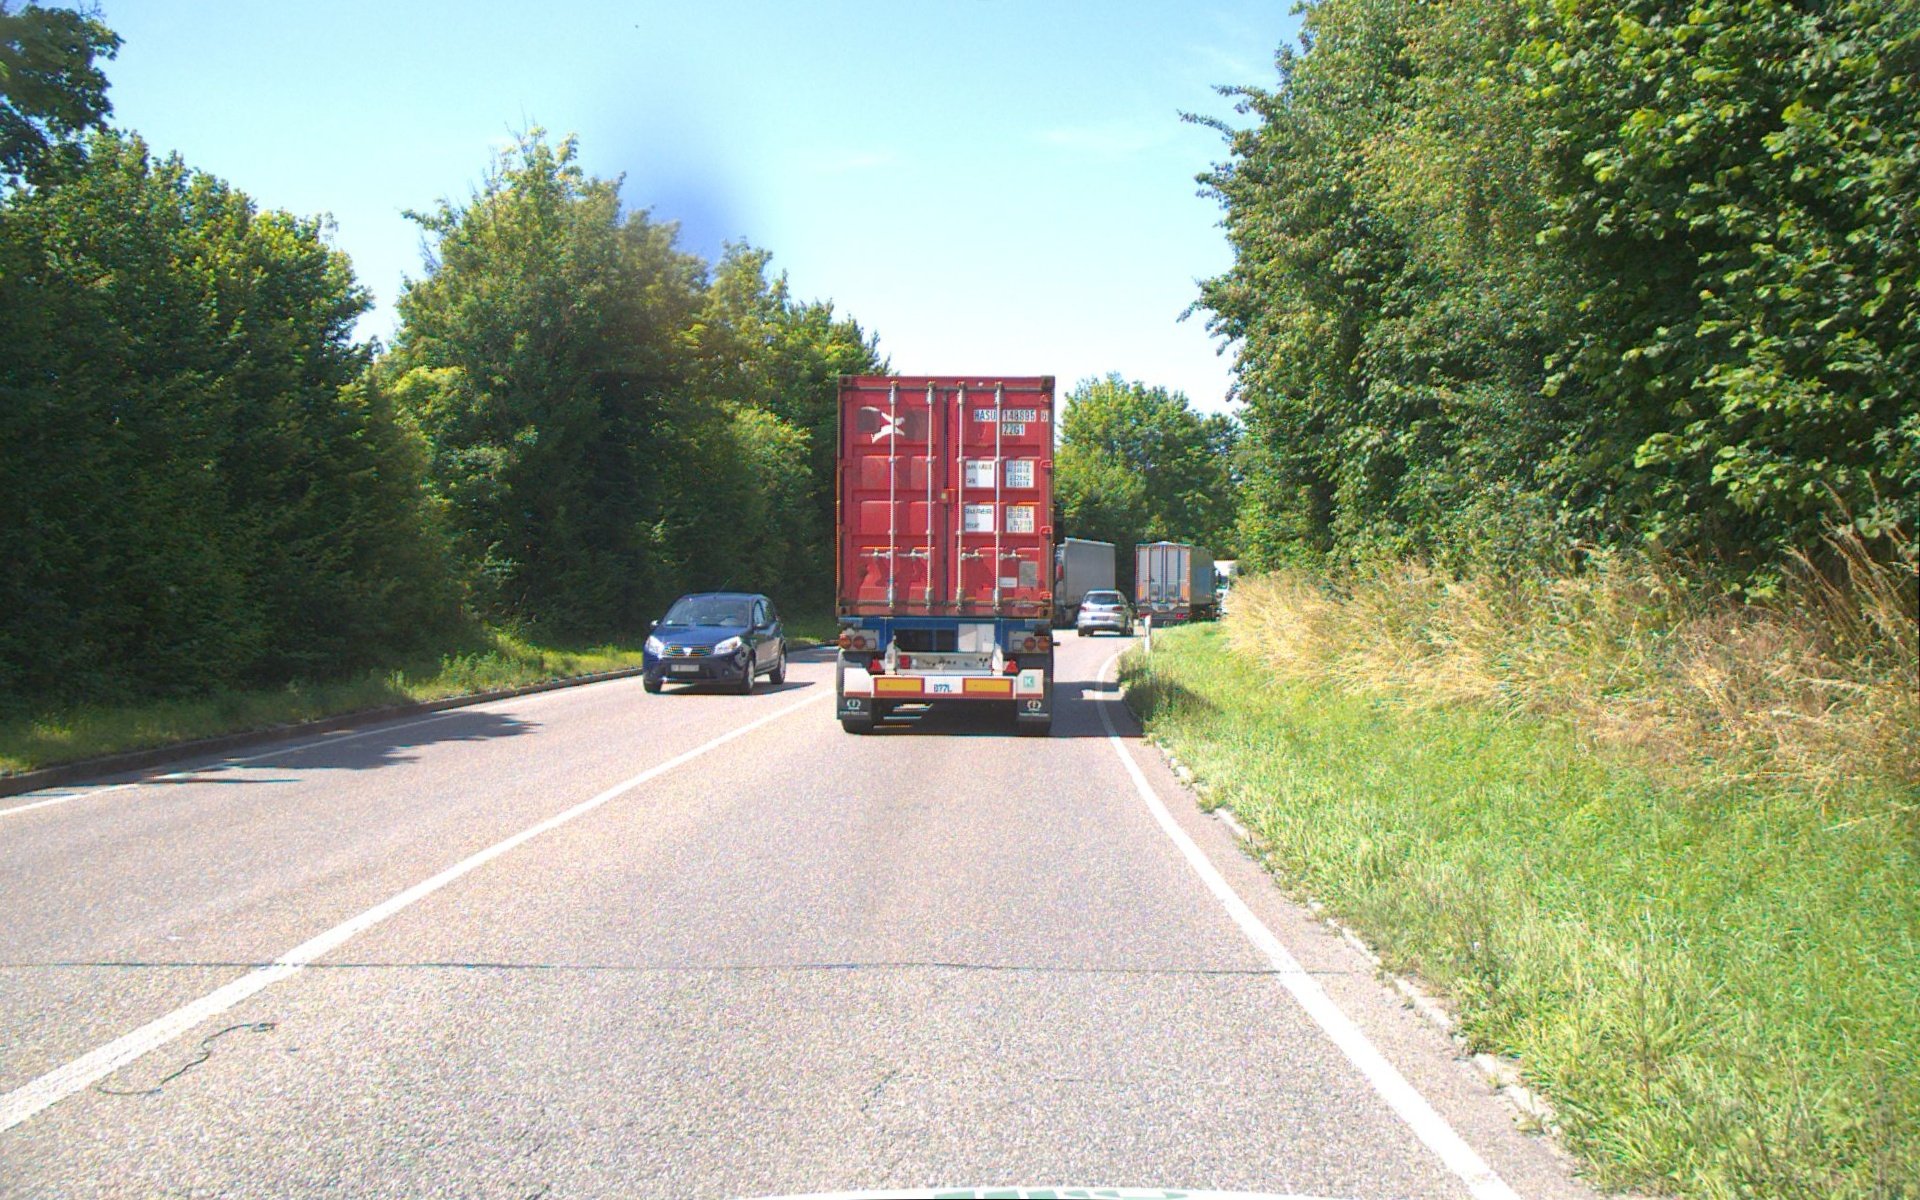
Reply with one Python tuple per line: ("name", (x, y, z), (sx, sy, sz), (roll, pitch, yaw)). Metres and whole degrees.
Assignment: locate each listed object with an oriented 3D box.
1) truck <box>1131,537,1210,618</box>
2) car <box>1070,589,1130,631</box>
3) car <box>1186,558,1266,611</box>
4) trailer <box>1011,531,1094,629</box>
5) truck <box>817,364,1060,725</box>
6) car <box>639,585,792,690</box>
("truck", (10.771, -1.068, 83.336), (2.859, 3.782, 13.371), (0, 0, 12))
("car", (5.254, 0.379, 61.820), (1.793, 1.458, 4.003), (-2, -1, 11))
("car", (20.794, -1.175, 128.338), (3.199, 3.941, 12.742), (0, 0, 23))
("trailer", (4.519, -0.867, 78.240), (2.859, 4.256, 11.273), (1, 0, 9))
("truck", (0.120, -0.582, 24.548), (2.592, 3.873, 13.364), (1, 0, 3))
("car", (-3.888, 0.558, 26.898), (1.648, 1.556, 4.072), (0, 0, 3))
